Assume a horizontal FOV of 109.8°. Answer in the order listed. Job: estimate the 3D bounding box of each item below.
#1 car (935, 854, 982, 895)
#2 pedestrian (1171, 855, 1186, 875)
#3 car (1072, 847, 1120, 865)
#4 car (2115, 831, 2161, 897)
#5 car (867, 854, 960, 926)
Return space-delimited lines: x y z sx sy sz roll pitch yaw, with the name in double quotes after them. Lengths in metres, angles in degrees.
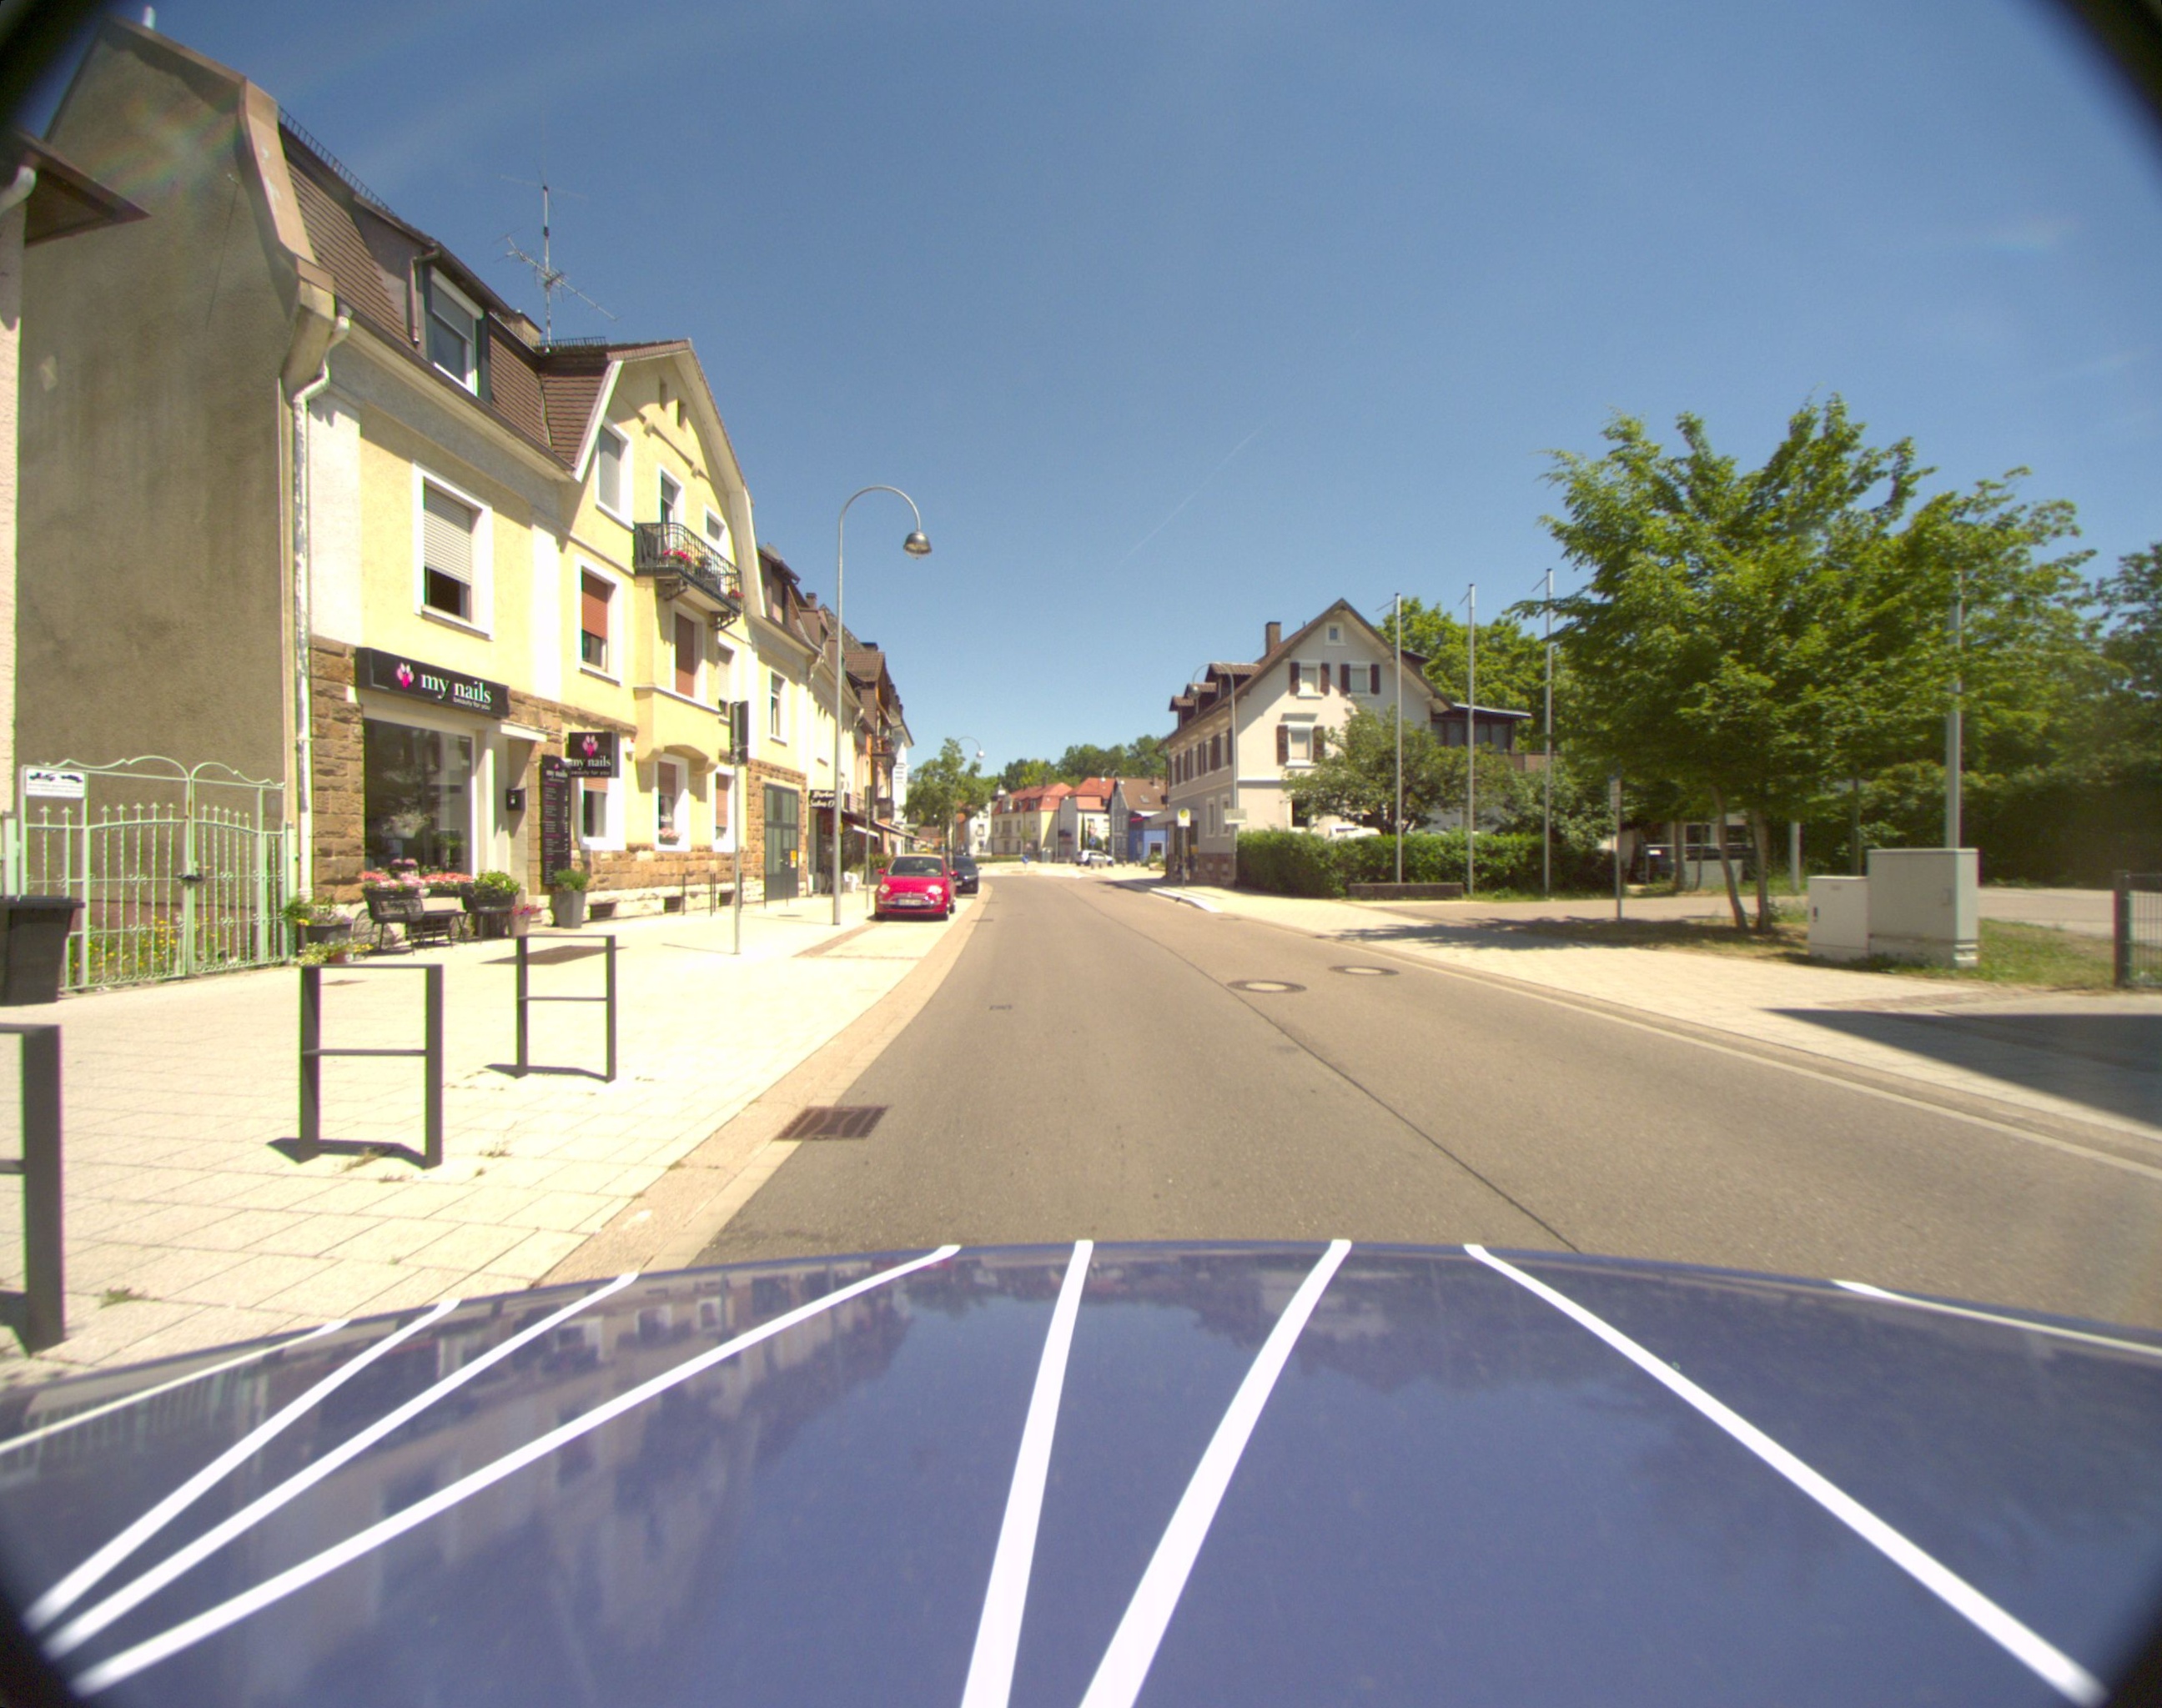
-4.925 0.794 30.963 1.735 1.464 4.320 2 0 -7 "car"
5.068 0.577 39.527 0.598 1.053 0.567 -1 1 -9 "pedestrian"
1.466 0.156 73.158 4.197 1.587 1.995 -1 1 -29 "car"
25.018 0.227 16.276 1.687 1.483 3.773 -1 0 22 "car"
-3.849 0.774 17.963 1.684 1.505 3.385 1 0 -5 "car"
